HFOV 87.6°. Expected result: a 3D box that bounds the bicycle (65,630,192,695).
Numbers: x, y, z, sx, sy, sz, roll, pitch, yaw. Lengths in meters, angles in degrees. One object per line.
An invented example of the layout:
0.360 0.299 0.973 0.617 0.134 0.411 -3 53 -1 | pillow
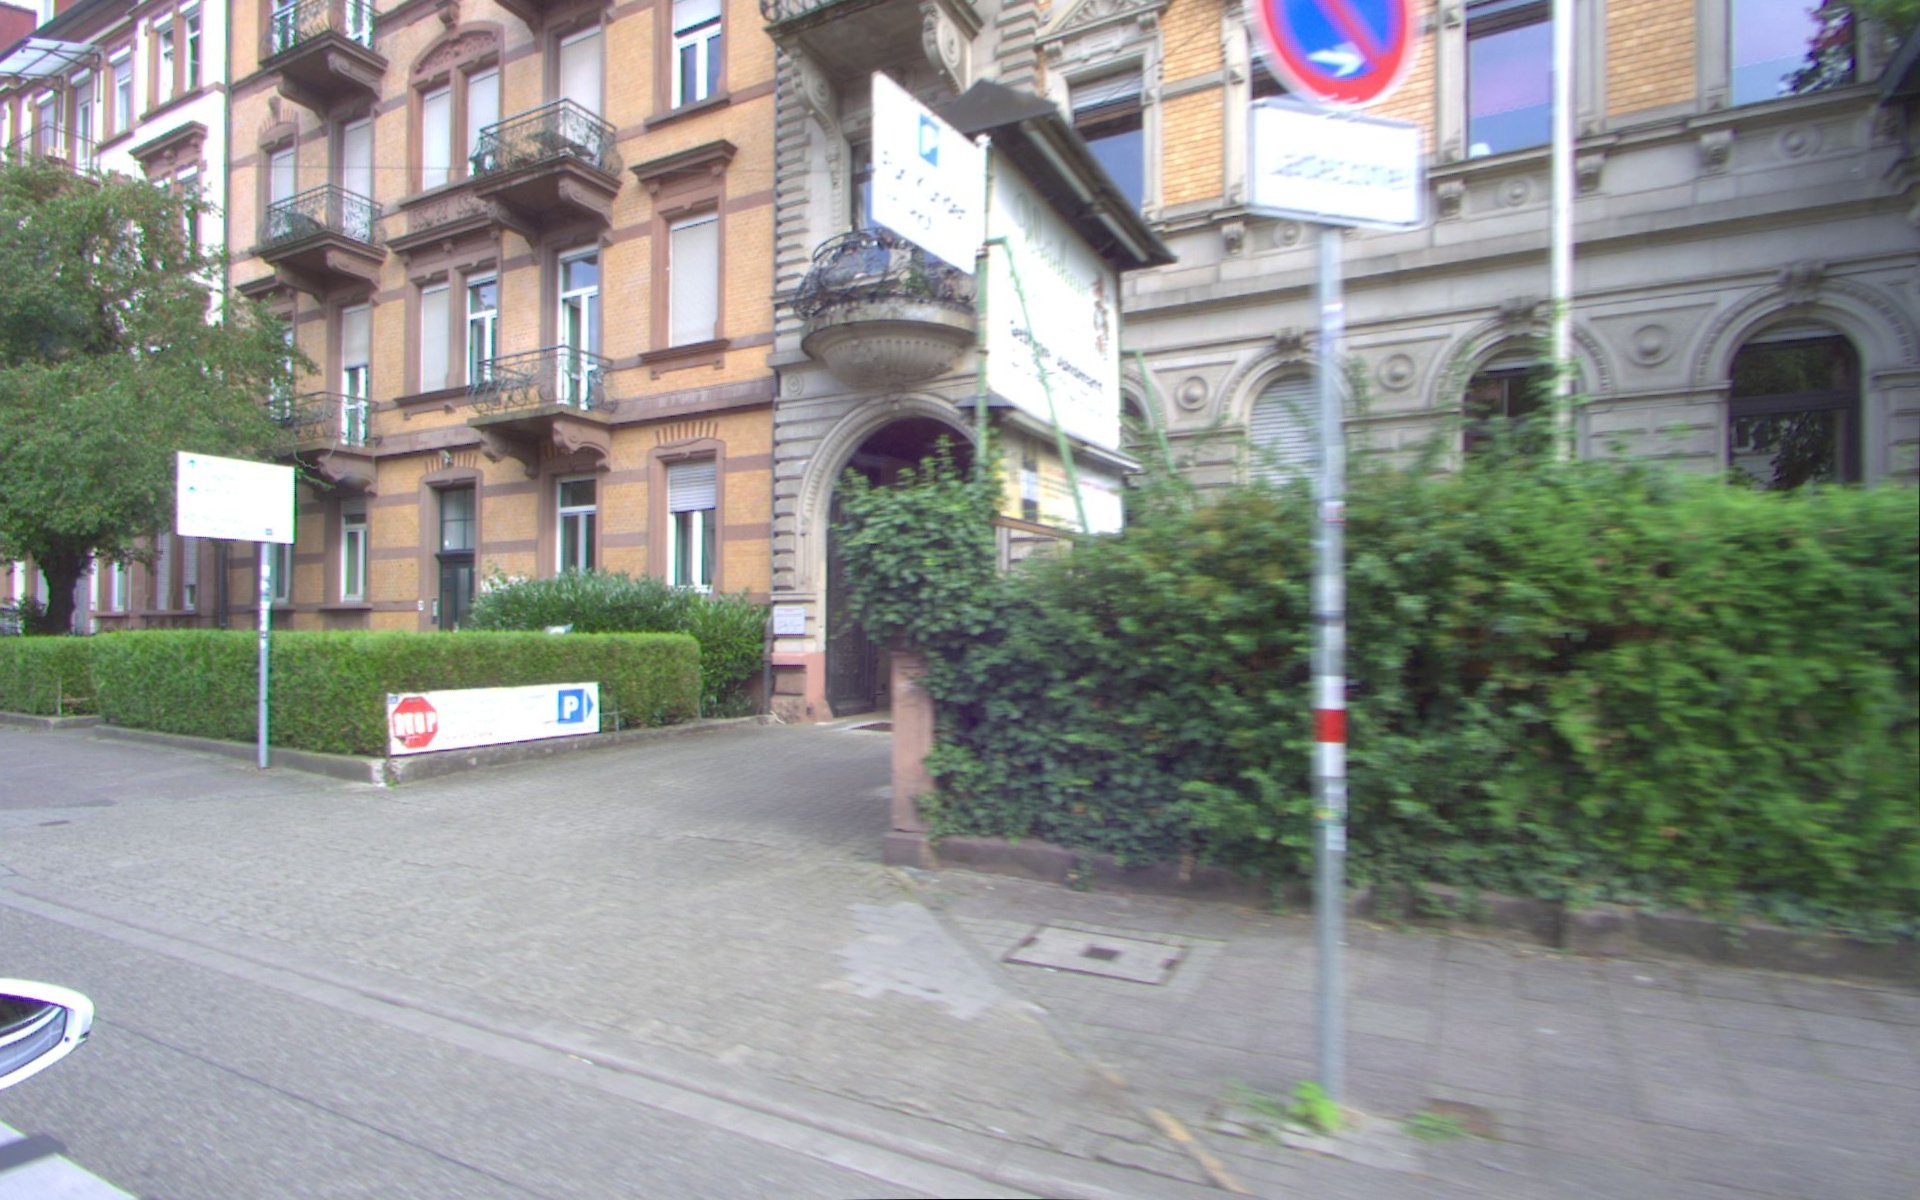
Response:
-13.603 1.002 16.429 0.437 1.021 1.545 0 -1 27 | bicycle

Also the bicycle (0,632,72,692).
-16.660 1.077 17.563 0.502 1.021 1.545 0 -1 27 | bicycle

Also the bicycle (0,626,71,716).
-13.964 1.037 15.001 1.527 1.298 0.515 0 -1 31 | bicycle
